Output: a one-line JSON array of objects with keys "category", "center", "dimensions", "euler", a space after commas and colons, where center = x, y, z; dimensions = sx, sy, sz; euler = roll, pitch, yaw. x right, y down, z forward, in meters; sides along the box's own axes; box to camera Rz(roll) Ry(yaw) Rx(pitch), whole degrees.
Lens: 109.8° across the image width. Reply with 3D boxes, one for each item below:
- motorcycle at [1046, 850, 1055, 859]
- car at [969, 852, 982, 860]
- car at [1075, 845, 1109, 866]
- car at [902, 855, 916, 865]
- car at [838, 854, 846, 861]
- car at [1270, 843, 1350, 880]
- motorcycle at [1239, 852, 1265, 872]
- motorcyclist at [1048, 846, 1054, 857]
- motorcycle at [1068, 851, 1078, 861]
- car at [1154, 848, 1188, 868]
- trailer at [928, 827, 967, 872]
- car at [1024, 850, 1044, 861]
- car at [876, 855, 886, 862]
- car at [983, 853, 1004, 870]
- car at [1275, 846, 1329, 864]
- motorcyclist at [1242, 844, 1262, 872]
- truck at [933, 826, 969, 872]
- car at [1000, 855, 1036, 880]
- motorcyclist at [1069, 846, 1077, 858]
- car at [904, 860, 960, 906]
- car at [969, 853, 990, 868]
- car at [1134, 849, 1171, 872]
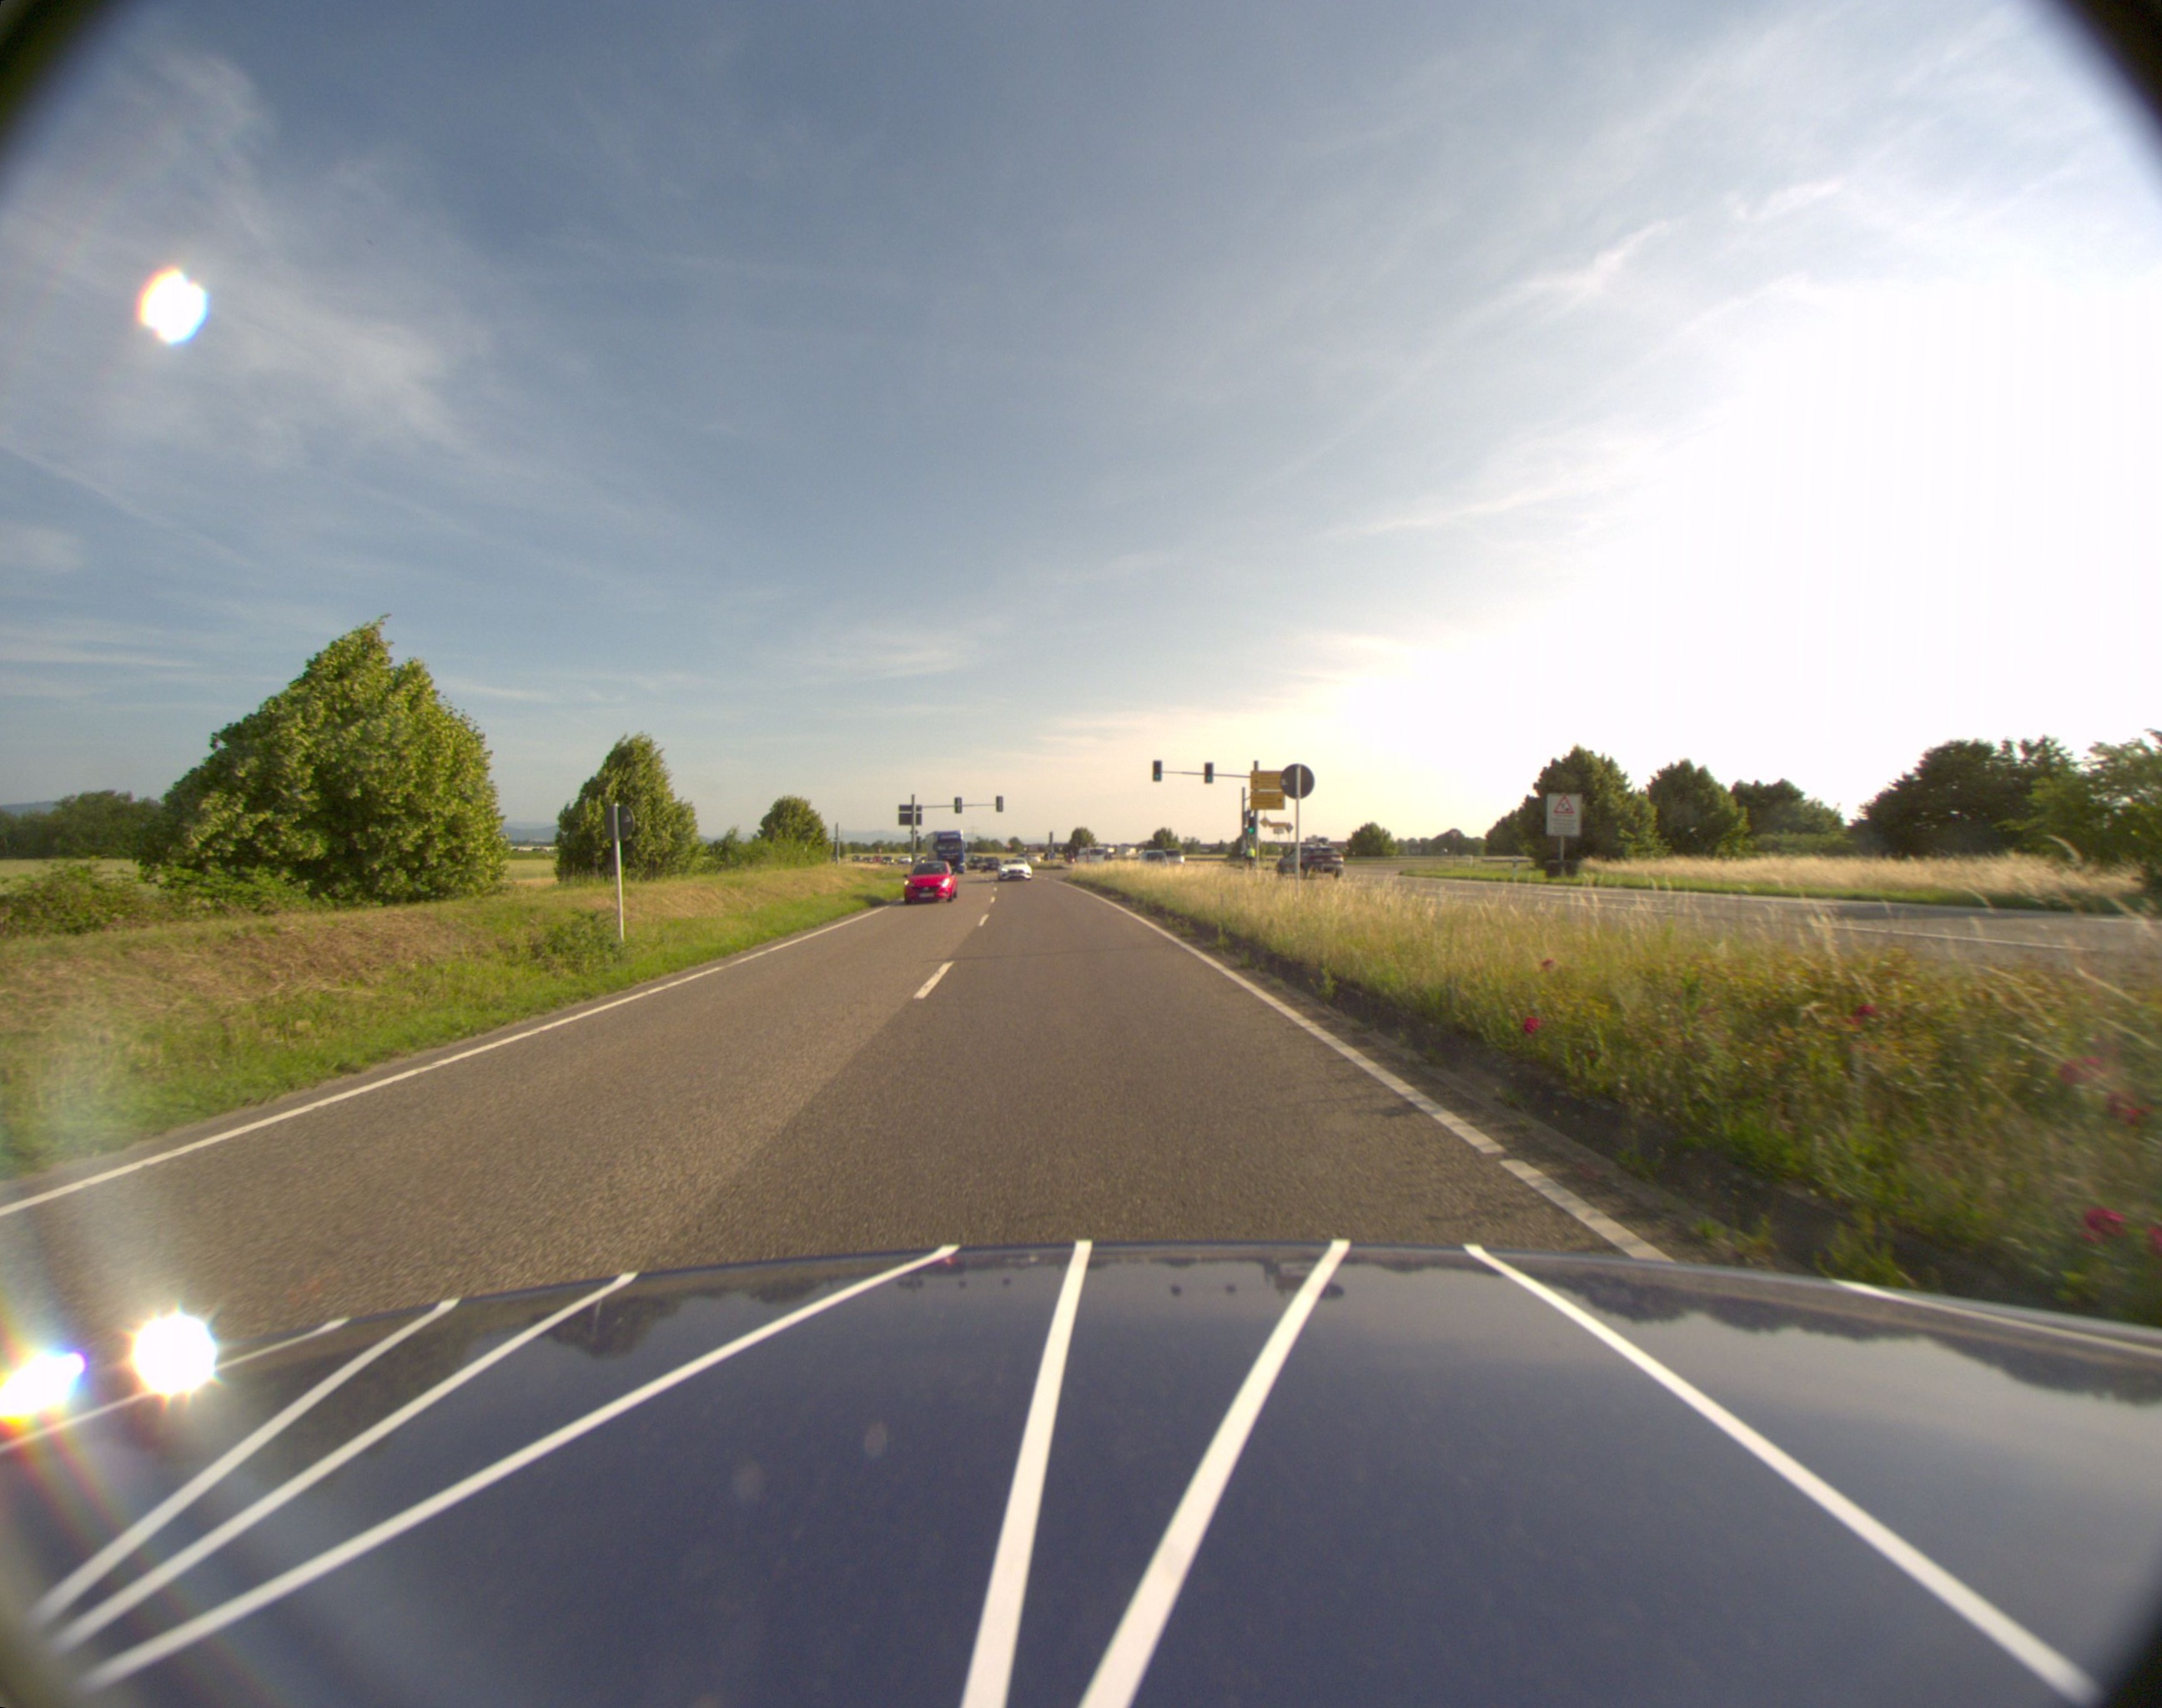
[{"category": "motorcycle", "center": [-4.185, 0.060, 105.081], "dimensions": [0.703, 1.131, 2.274], "euler": [-2, 0, -15]}, {"category": "car", "center": [-18.754, 0.354, 135.157], "dimensions": [1.692, 1.514, 4.086], "euler": [-2, 1, -17]}, {"category": "car", "center": [1.014, 0.100, 72.816], "dimensions": [2.000, 1.893, 5.782], "euler": [-2, 1, -11]}, {"category": "car", "center": [-31.656, 1.064, 140.007], "dimensions": [2.002, 1.871, 3.993], "euler": [-2, 0, -20]}, {"category": "car", "center": [-66.337, 0.959, 210.761], "dimensions": [1.553, 1.687, 3.622], "euler": [-2, 1, -26]}, {"category": "car", "center": [10.581, 0.306, 35.473], "dimensions": [1.918, 1.556, 4.608], "euler": [-2, 0, -6]}, {"category": "motorcycle", "center": [10.128, 0.466, 45.017], "dimensions": [0.754, 1.087, 2.306], "euler": [-2, 1, -7]}, {"category": "motorcyclist", "center": [-4.175, -0.396, 105.036], "dimensions": [0.700, 1.494, 0.895], "euler": [-2, 1, -10]}, {"category": "motorcycle", "center": [-1.001, 0.243, 94.878], "dimensions": [0.710, 1.152, 2.020], "euler": [-2, 1, -19]}, {"category": "car", "center": [7.122, 0.319, 60.628], "dimensions": [1.711, 1.516, 4.131], "euler": [-2, 1, -7]}, {"category": "trailer", "center": [-13.509, -0.419, 75.795], "dimensions": [2.654, 3.956, 13.912], "euler": [-3, 1, -14]}, {"category": "car", "center": [-6.036, 0.214, 97.279], "dimensions": [1.701, 1.345, 4.447], "euler": [-2, 1, -15]}, {"category": "car", "center": [-44.215, 0.988, 168.166], "dimensions": [1.522, 1.387, 3.510], "euler": [-2, 1, -26]}, {"category": "car", "center": [-8.214, 0.684, 71.141], "dimensions": [1.753, 1.521, 3.996], "euler": [-2, 1, -10]}, {"category": "car", "center": [19.087, 0.062, 65.647], "dimensions": [4.002, 1.390, 1.957], "euler": [-2, 1, -14]}, {"category": "motorcyclist", "center": [10.127, 0.249, 44.968], "dimensions": [0.754, 1.595, 1.248], "euler": [-2, 1, -7]}, {"category": "truck", "center": [-11.985, -0.468, 69.597], "dimensions": [2.654, 3.897, 5.942], "euler": [-3, 1, -14]}, {"category": "car", "center": [-3.963, 0.806, 47.135], "dimensions": [1.877, 1.390, 4.200], "euler": [-2, 1, -9]}, {"category": "motorcyclist", "center": [-1.008, -0.238, 94.870], "dimensions": [0.707, 1.456, 1.018], "euler": [-2, 1, -18]}, {"category": "car", "center": [-5.439, 1.009, 28.148], "dimensions": [1.666, 1.455, 3.952], "euler": [-2, 1, -6]}, {"category": "car", "center": [-11.166, 0.682, 83.493], "dimensions": [1.833, 1.521, 3.995], "euler": [-2, 1, -14]}, {"category": "car", "center": [4.892, 0.426, 52.397], "dimensions": [1.684, 1.435, 3.749], "euler": [-2, 1, -8]}]
